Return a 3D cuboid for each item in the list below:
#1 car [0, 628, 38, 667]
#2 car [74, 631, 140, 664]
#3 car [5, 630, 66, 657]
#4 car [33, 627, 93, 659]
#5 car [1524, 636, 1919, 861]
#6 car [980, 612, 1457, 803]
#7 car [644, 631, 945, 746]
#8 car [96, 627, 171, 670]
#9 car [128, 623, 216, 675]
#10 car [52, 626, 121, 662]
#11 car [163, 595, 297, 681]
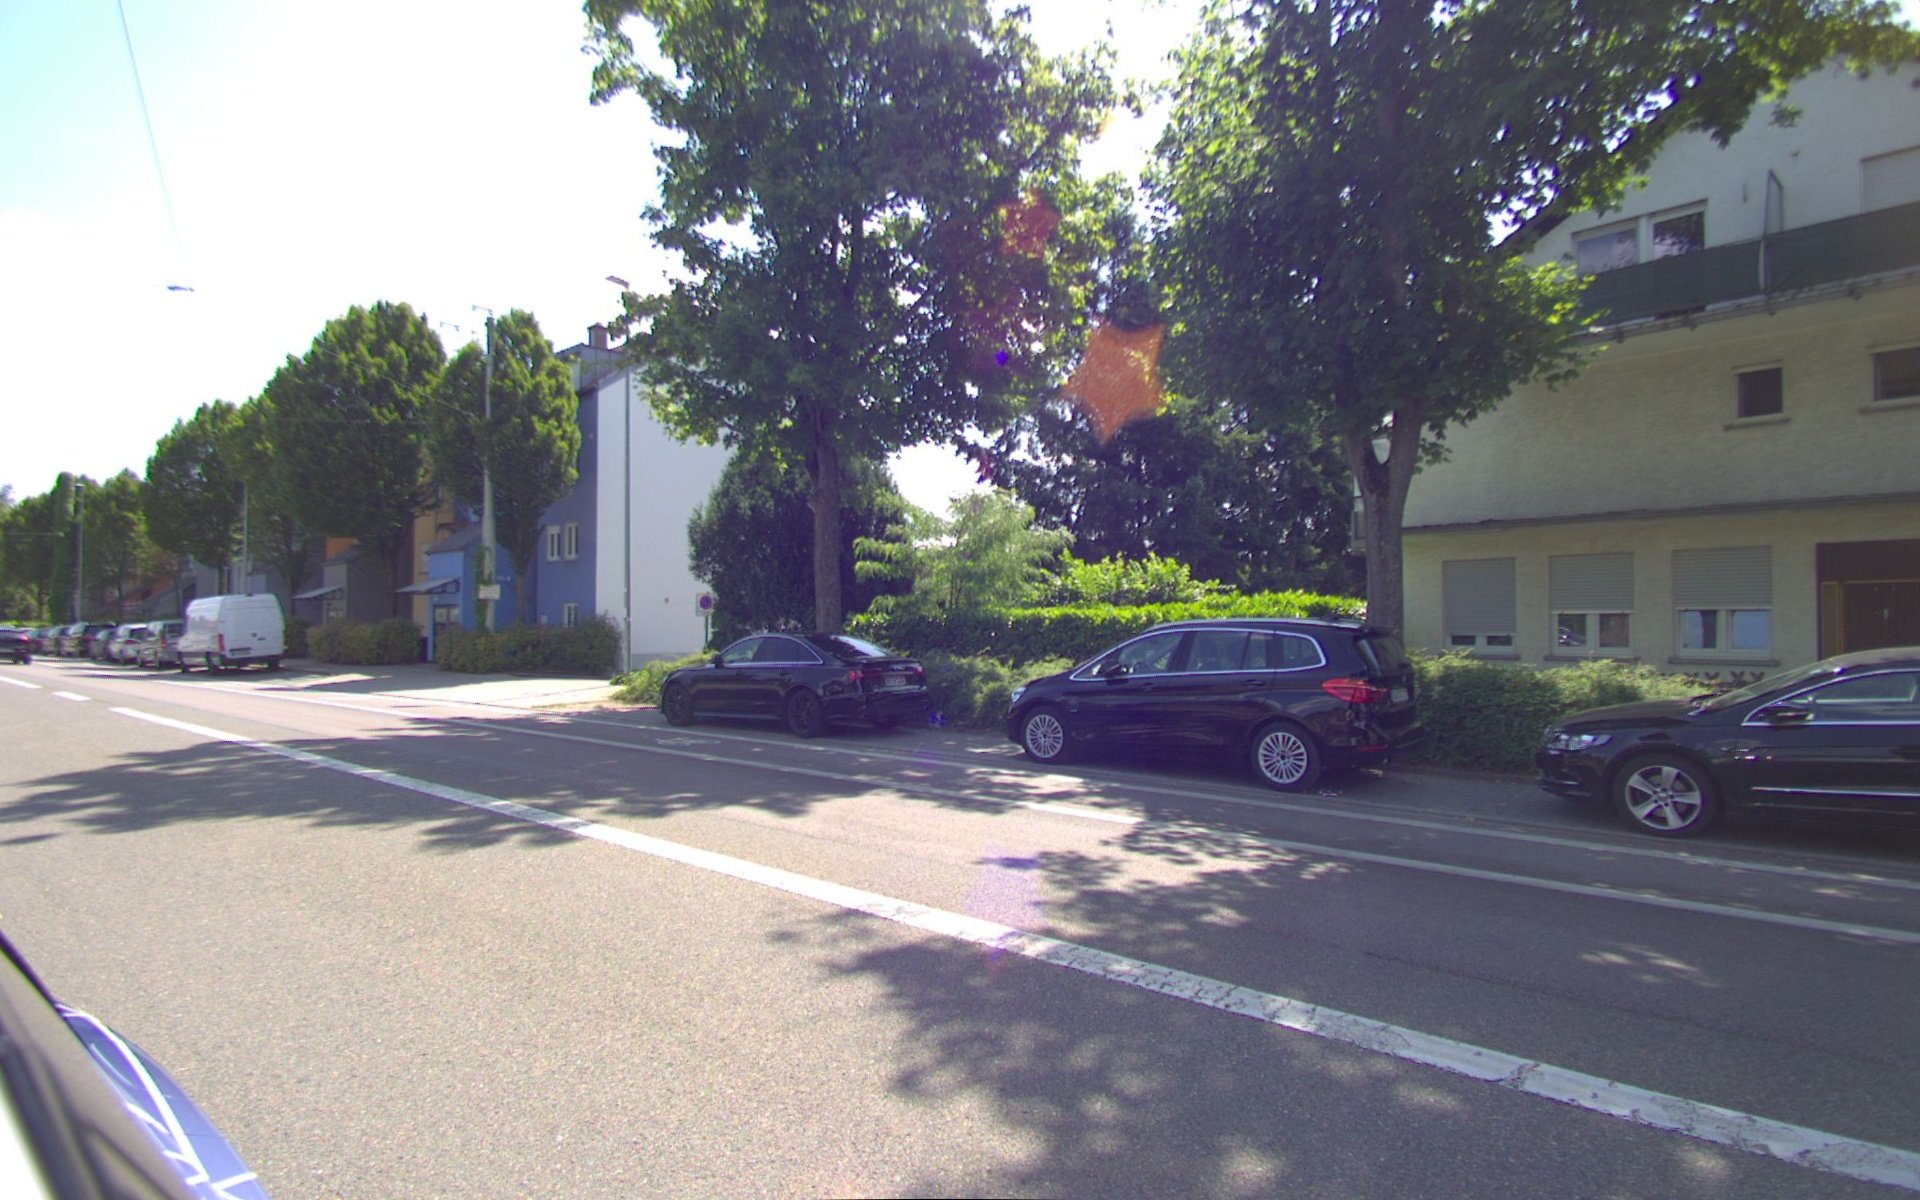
[{"bbox_3d":[-37.898,1.824,39.575,4.184,1.471,1.760,-1,-3,34],"label":"car"},{"bbox_3d":[-40.644,2.243,48.210,4.082,1.482,1.583,-1,-2,38],"label":"car"},{"bbox_3d":[-53.652,2.485,58.703,4.955,1.457,1.726,-2,-1,37],"label":"car"},{"bbox_3d":[-48.762,2.332,55.009,4.279,1.630,1.640,-1,-2,38],"label":"car"},{"bbox_3d":[6.830,0.984,7.184,4.692,1.383,1.757,-2,0,40],"label":"car"},{"bbox_3d":[2.571,0.977,10.824,4.633,1.616,1.757,-2,-1,40],"label":"car"},{"bbox_3d":[-2.612,1.204,15.219,4.800,1.467,1.757,-2,-2,40],"label":"car"},{"bbox_3d":[-36.682,2.118,44.883,4.899,1.765,1.699,-2,-1,40],"label":"car"},{"bbox_3d":[-31.943,1.947,40.960,5.359,1.909,1.788,-2,0,41],"label":"car"},{"bbox_3d":[-44.545,2.233,51.568,4.881,1.729,1.734,-2,-3,38],"label":"car"},{"bbox_3d":[-26.070,1.314,36.009,7.032,2.671,2.299,-2,1,42],"label":"car"}]
